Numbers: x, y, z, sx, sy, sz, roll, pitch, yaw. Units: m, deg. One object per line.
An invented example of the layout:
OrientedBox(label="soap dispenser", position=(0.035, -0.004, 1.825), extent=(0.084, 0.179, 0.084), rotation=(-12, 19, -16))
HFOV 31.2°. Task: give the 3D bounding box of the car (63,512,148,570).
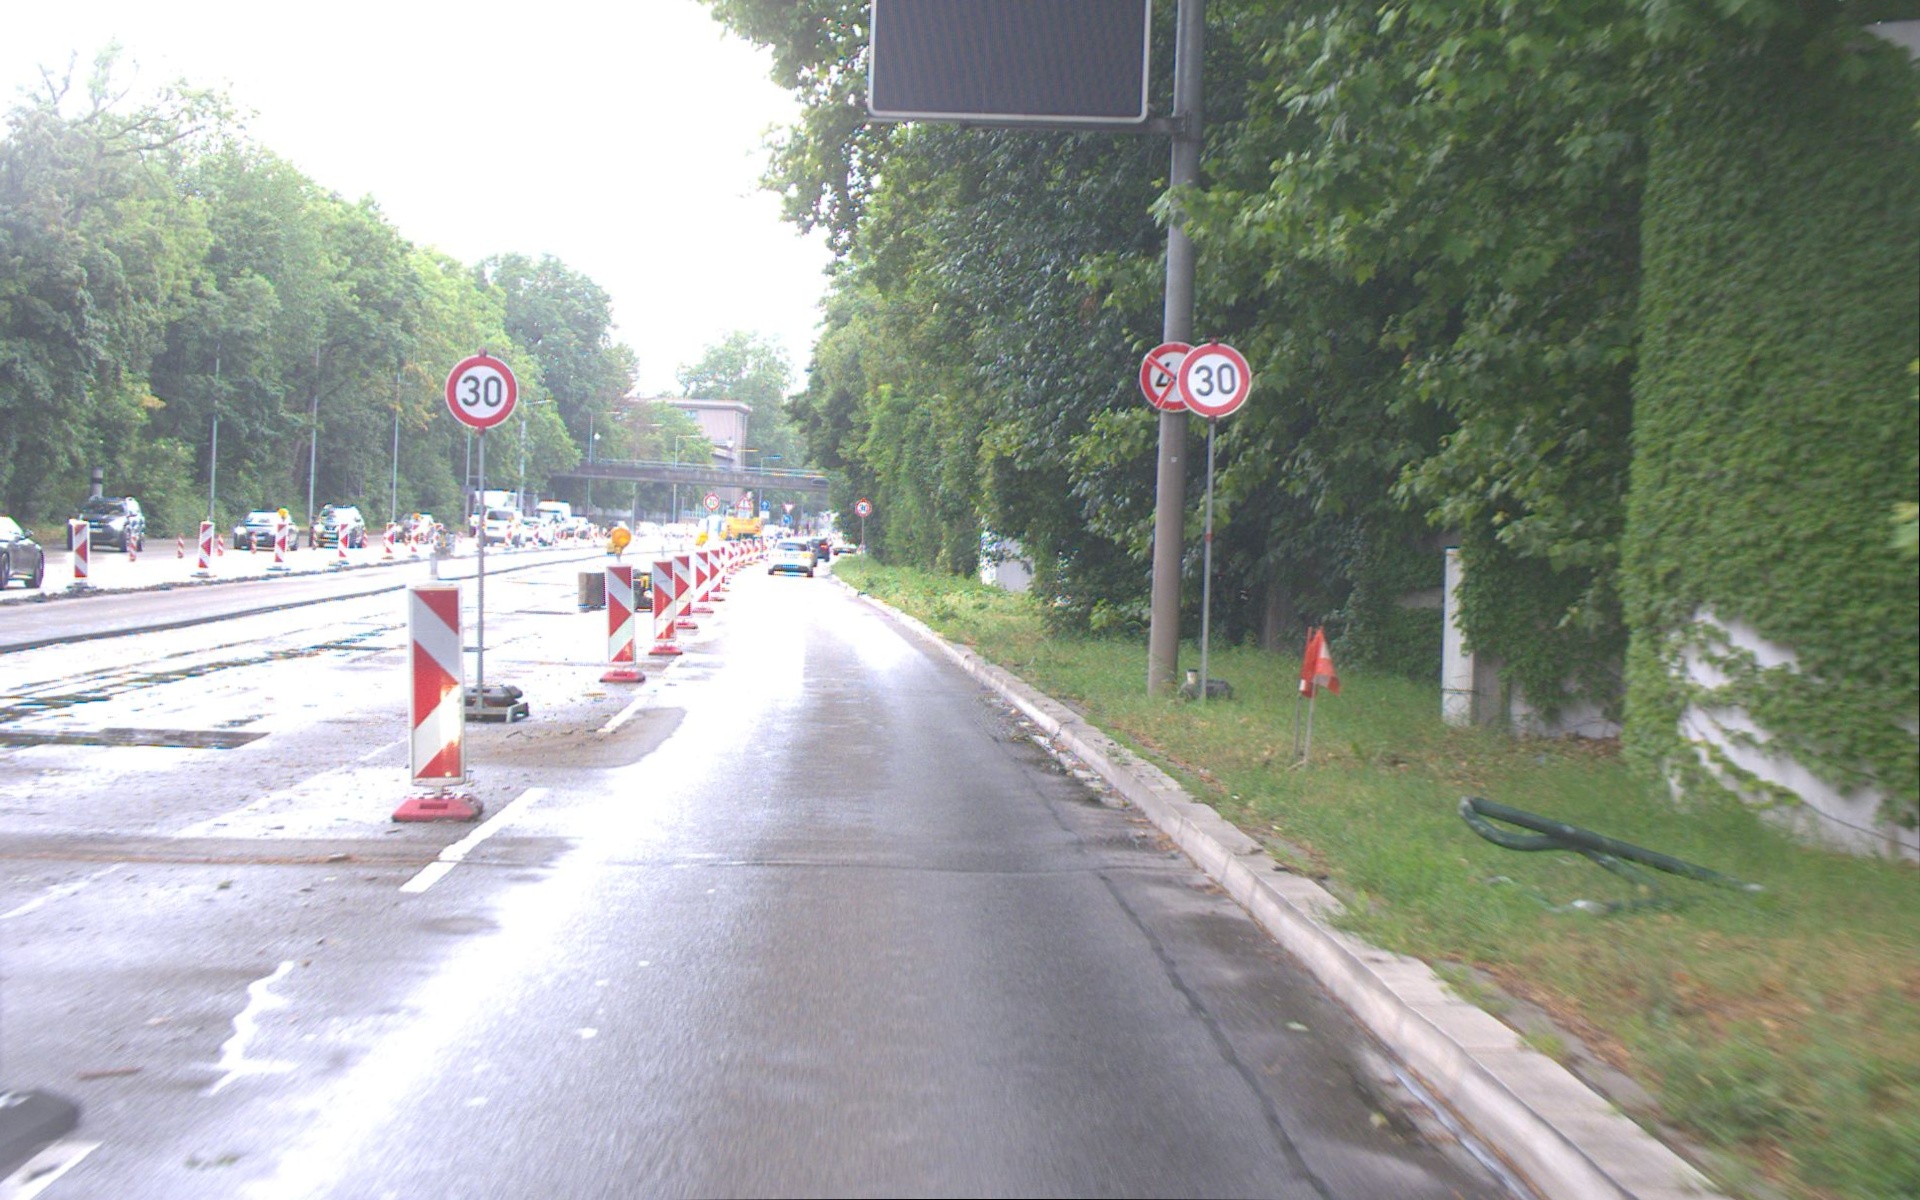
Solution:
OrientedBox(label="car", position=(-26.305, -1.822, 105.930), extent=(1.653, 1.679, 4.534), rotation=(3, 1, -3))

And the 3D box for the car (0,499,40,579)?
OrientedBox(label="car", position=(-17.830, -1.134, 61.851), extent=(1.607, 1.399, 4.041), rotation=(3, 1, -3))

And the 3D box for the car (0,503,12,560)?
OrientedBox(label="car", position=(-24.776, -1.725, 84.563), extent=(1.817, 1.415, 4.603), rotation=(3, 1, -3))

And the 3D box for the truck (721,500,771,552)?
OrientedBox(label="truck", position=(-15.353, -5.307, 247.473), extent=(3.259, 3.485, 13.872), rotation=(3, 1, -3))

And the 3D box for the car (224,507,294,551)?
OrientedBox(label="car", position=(-24.971, -2.527, 122.642), extent=(1.760, 1.478, 4.901), rotation=(2, 1, -4))

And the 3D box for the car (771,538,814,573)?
OrientedBox(label="car", position=(-6.642, -1.776, 136.339), extent=(1.697, 1.331, 3.491), rotation=(0, 1, -3))

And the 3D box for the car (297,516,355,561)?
OrientedBox(label="car", position=(-25.792, -2.497, 139.963), extent=(1.734, 1.716, 4.494), rotation=(2, 1, -4))
